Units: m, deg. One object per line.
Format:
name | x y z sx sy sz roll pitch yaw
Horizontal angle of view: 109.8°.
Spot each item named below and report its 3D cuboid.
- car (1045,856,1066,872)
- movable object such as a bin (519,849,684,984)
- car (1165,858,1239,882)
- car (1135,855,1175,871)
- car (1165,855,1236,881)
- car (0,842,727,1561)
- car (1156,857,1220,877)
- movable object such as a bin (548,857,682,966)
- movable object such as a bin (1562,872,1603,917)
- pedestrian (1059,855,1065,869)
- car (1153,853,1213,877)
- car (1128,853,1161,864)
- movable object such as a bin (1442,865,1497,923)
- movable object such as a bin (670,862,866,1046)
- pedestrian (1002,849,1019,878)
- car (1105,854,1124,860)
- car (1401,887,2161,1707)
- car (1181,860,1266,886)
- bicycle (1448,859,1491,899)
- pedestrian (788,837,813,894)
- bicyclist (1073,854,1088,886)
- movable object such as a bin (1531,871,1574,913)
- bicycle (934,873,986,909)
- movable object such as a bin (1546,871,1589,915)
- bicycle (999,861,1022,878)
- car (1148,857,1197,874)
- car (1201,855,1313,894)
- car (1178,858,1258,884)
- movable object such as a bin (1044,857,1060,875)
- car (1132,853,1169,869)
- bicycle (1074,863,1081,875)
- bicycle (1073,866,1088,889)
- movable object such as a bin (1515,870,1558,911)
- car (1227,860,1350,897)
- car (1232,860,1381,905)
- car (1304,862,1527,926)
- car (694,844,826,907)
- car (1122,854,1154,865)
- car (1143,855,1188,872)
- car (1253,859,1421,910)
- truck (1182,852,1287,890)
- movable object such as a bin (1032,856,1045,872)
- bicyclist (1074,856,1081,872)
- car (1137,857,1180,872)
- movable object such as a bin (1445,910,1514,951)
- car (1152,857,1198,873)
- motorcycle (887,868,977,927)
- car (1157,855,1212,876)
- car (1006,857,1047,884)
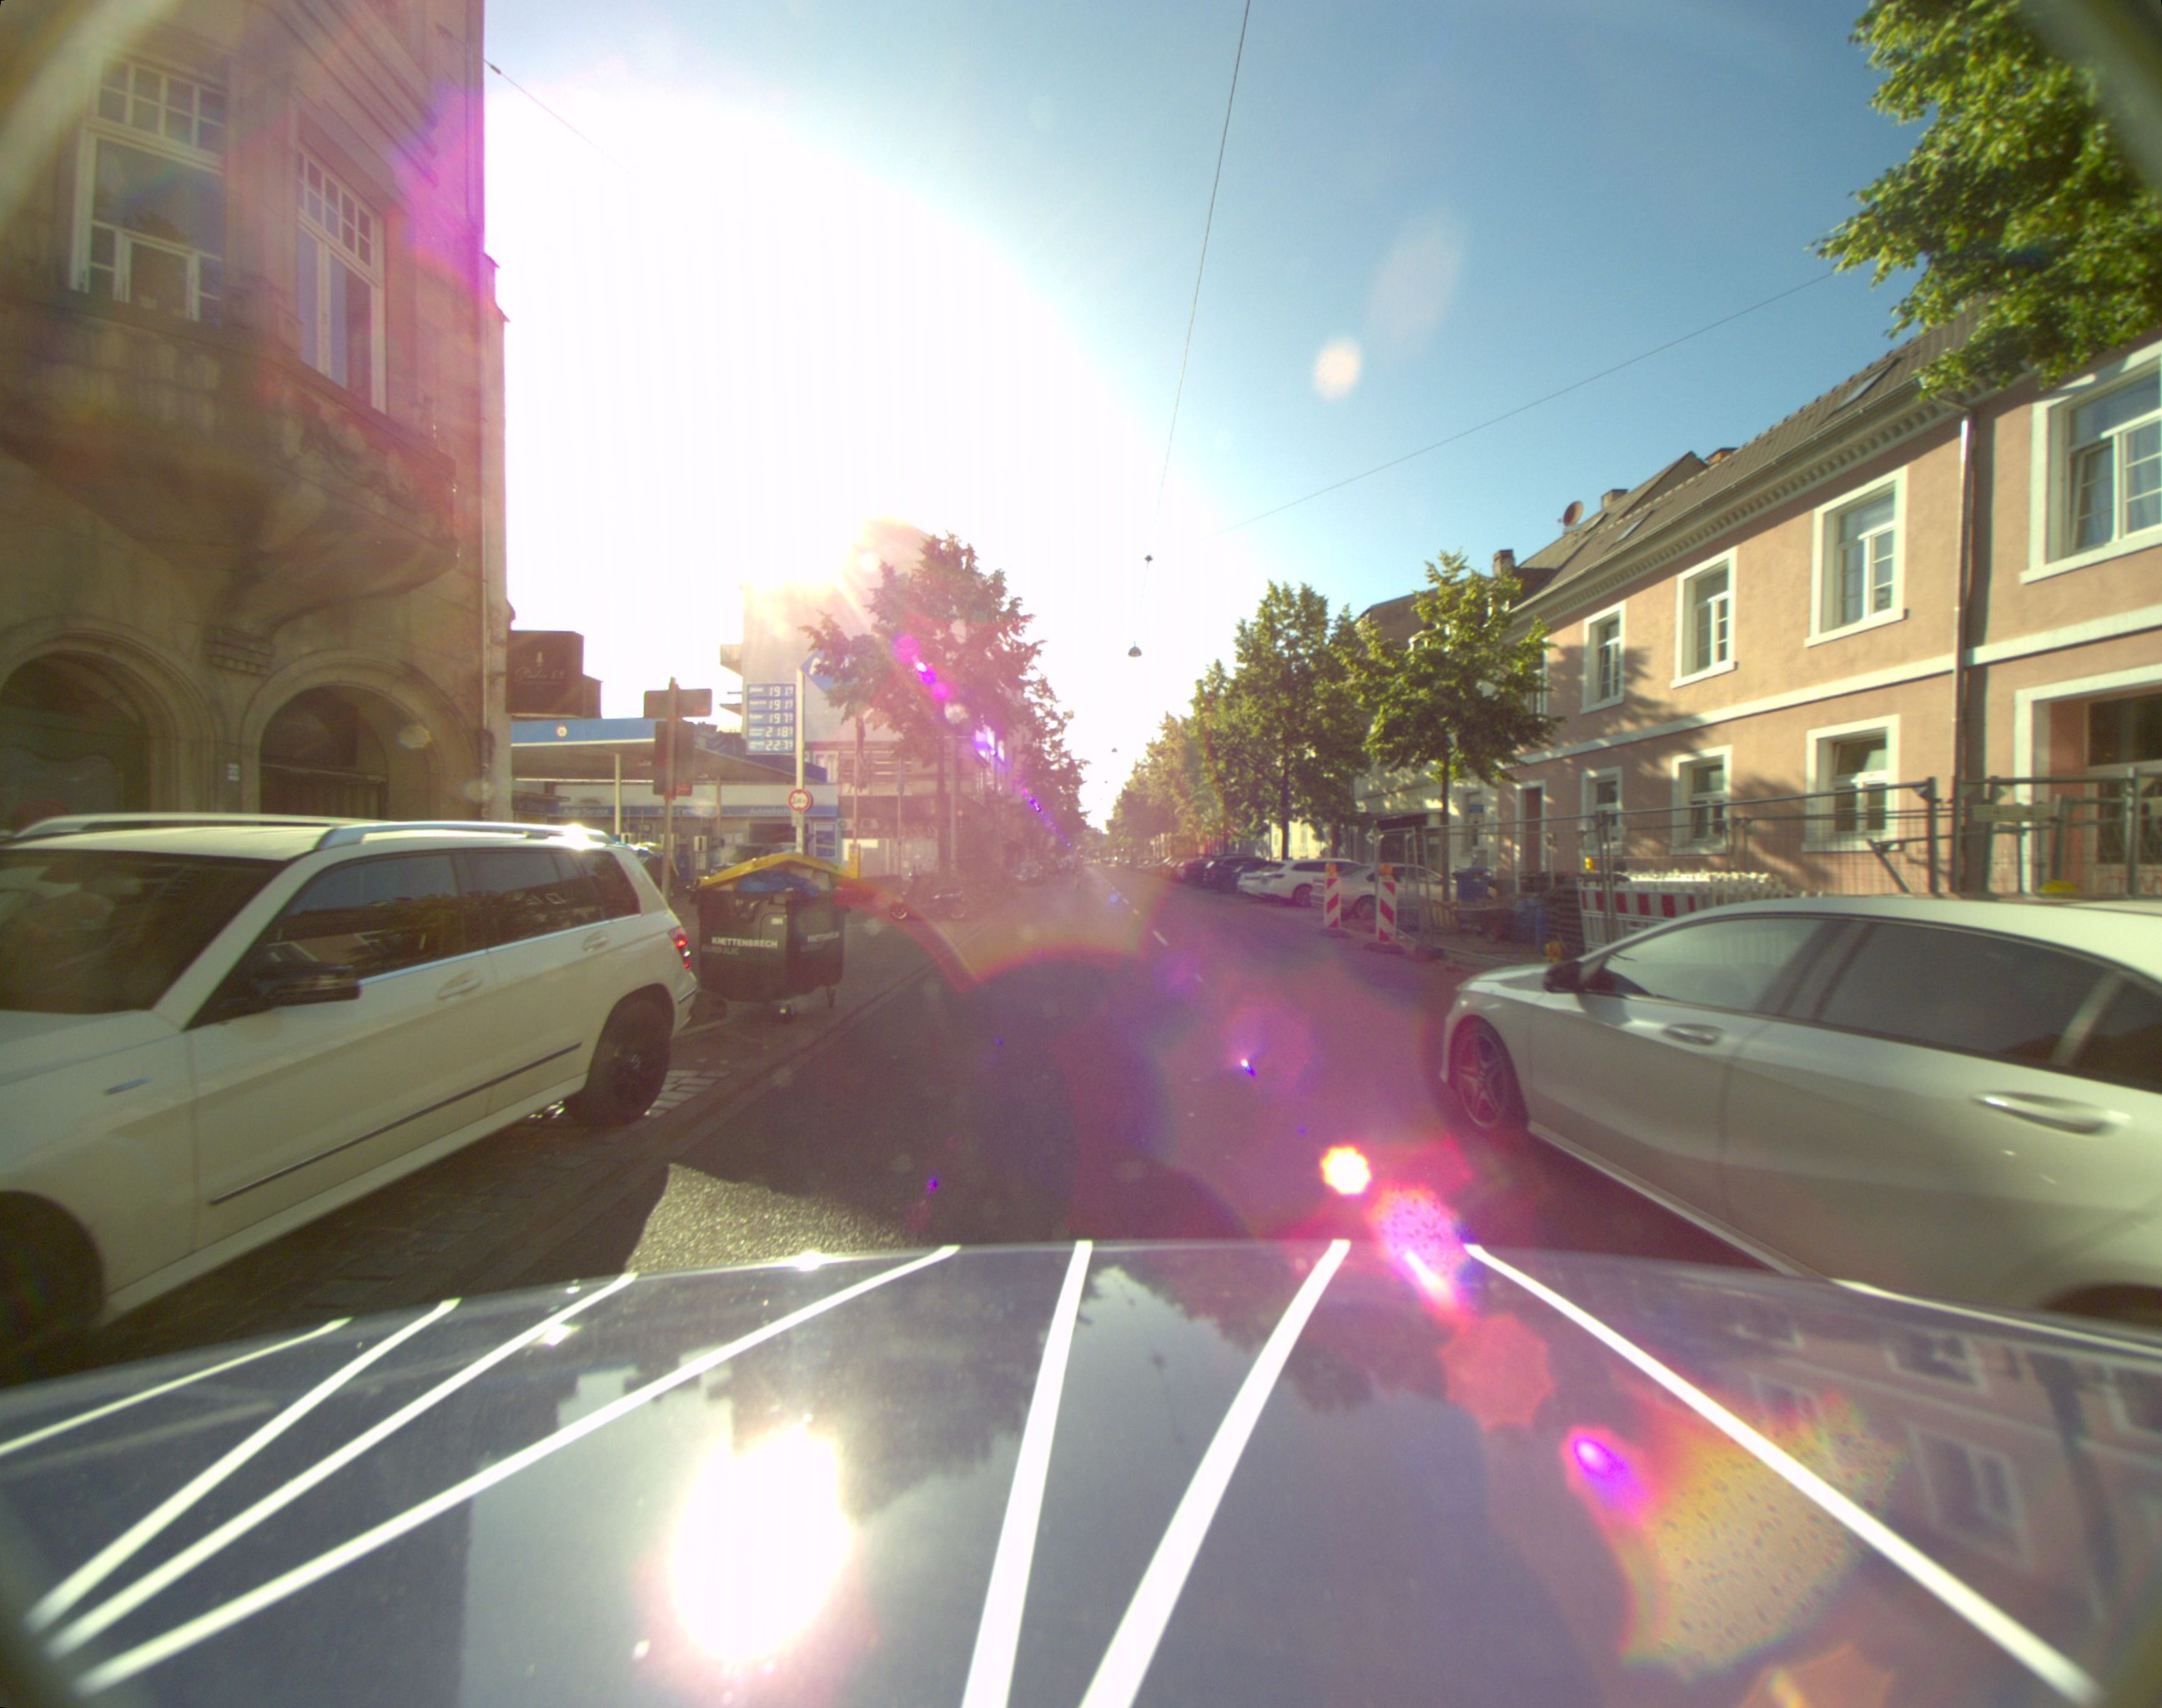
car | -2.529 0.975 76.414 1.826 1.463 4.911 2 0 1
movable object such as a bin | -6.184 0.761 9.922 1.208 1.618 1.498 1 0 -1
car | 7.950 1.031 50.196 4.691 1.510 1.808 -1 0 2
car | 8.639 1.009 89.259 4.353 1.823 1.915 -1 0 -8
car | 8.307 0.956 53.118 4.691 1.702 1.808 -1 0 2
car | -3.450 0.825 3.009 1.826 1.669 4.600 2 0 1
car | 8.171 1.020 58.375 4.657 1.450 1.683 -1 0 0
movable object such as a bin | -6.880 0.809 11.298 1.274 1.521 1.176 1 0 -1
movable object such as a bin | 12.198 0.975 18.483 0.634 1.054 0.544 1 0 1
pedestrian | -2.173 0.925 85.161 0.652 1.527 0.980 0 1 -1
car | 8.267 0.883 61.774 4.691 1.938 1.917 -1 0 2
car | 9.087 0.609 109.592 4.354 1.535 1.962 -1 0 -11
movable object such as a bin | 8.238 0.839 16.127 0.733 1.179 0.745 0 0 -8
movable object such as a bin | -2.931 0.870 7.315 1.144 1.553 1.460 1 0 9
pedestrian | -4.841 0.649 52.300 0.925 1.924 0.762 0 0 26
car | 7.517 0.703 170.379 4.006 1.433 1.995 -1 0 -31
car | 2.976 0.931 2.681 1.807 1.426 4.409 0 0 0
car | 8.374 1.097 44.913 4.691 1.454 1.808 -1 0 2
bicycle | 12.342 0.779 24.207 0.505 1.238 1.628 1 0 0
pedestrian | -9.163 0.377 24.823 0.689 1.839 0.708 1 1 -15
bicyclist | -0.016 0.804 38.184 0.718 1.553 0.864 0 1 -1
movable object such as a bin | 12.210 0.978 19.692 0.697 1.054 0.640 1 0 1
bicycle | -3.465 1.052 21.950 0.435 0.983 1.675 1 0 35
movable object such as a bin | 12.192 0.976 19.061 0.697 1.054 0.574 1 0 1
bicycle | -4.794 1.026 51.550 0.683 1.142 1.680 0 0 -41
car | 8.536 1.087 71.443 4.476 1.532 1.917 -1 0 4
car | 7.937 0.926 34.600 4.691 1.683 1.808 -1 0 2
car | 8.459 1.042 47.225 4.691 1.563 1.808 -1 0 2
movable object such as a bin | -2.476 1.037 65.526 1.334 1.533 1.146 0 0 1
car | 8.618 0.810 94.415 4.584 1.915 1.930 -1 0 3
bicycle | -0.335 1.412 73.075 0.666 1.061 1.836 -1 0 1
bicycle | -0.026 1.167 38.253 0.718 1.105 2.269 0 0 -1
movable object such as a bin | 12.212 0.974 20.400 0.697 1.054 0.732 1 0 1
car | 8.606 1.004 31.822 4.691 1.455 1.808 -1 0 2
car | 7.831 0.979 26.664 4.693 1.456 1.807 -1 0 -2
car | 8.095 0.939 18.666 4.693 1.404 1.807 -1 0 -2
car | -9.182 0.558 22.184 1.905 1.638 4.294 1 0 2
car | 8.740 0.789 116.576 4.713 1.484 1.999 -2 2 -4
car | 8.721 1.014 78.661 4.350 1.699 1.916 -1 0 0
car | 8.015 0.936 24.042 4.693 1.456 1.807 -1 0 -2
truck | 7.990 0.865 39.939 5.097 1.927 2.000 0 0 0
movable object such as a bin | -3.659 0.855 65.388 1.080 1.423 1.295 0 0 1
bicyclist | -0.343 0.935 73.072 0.658 1.562 0.909 -1 1 1
car | 8.239 1.120 81.155 4.476 1.532 1.917 -1 0 3
movable object such as a bin | 6.912 1.315 13.213 0.629 0.612 1.077 1 0 0
car | 9.460 1.109 76.593 4.350 1.572 1.809 -1 0 0
motorcycle | -3.453 0.984 17.664 1.984 1.322 0.911 0 0 -12
car | 8.817 0.954 64.772 4.477 1.761 1.917 -1 0 2
car | -3.022 0.905 43.125 1.905 1.404 4.647 2 0 0
